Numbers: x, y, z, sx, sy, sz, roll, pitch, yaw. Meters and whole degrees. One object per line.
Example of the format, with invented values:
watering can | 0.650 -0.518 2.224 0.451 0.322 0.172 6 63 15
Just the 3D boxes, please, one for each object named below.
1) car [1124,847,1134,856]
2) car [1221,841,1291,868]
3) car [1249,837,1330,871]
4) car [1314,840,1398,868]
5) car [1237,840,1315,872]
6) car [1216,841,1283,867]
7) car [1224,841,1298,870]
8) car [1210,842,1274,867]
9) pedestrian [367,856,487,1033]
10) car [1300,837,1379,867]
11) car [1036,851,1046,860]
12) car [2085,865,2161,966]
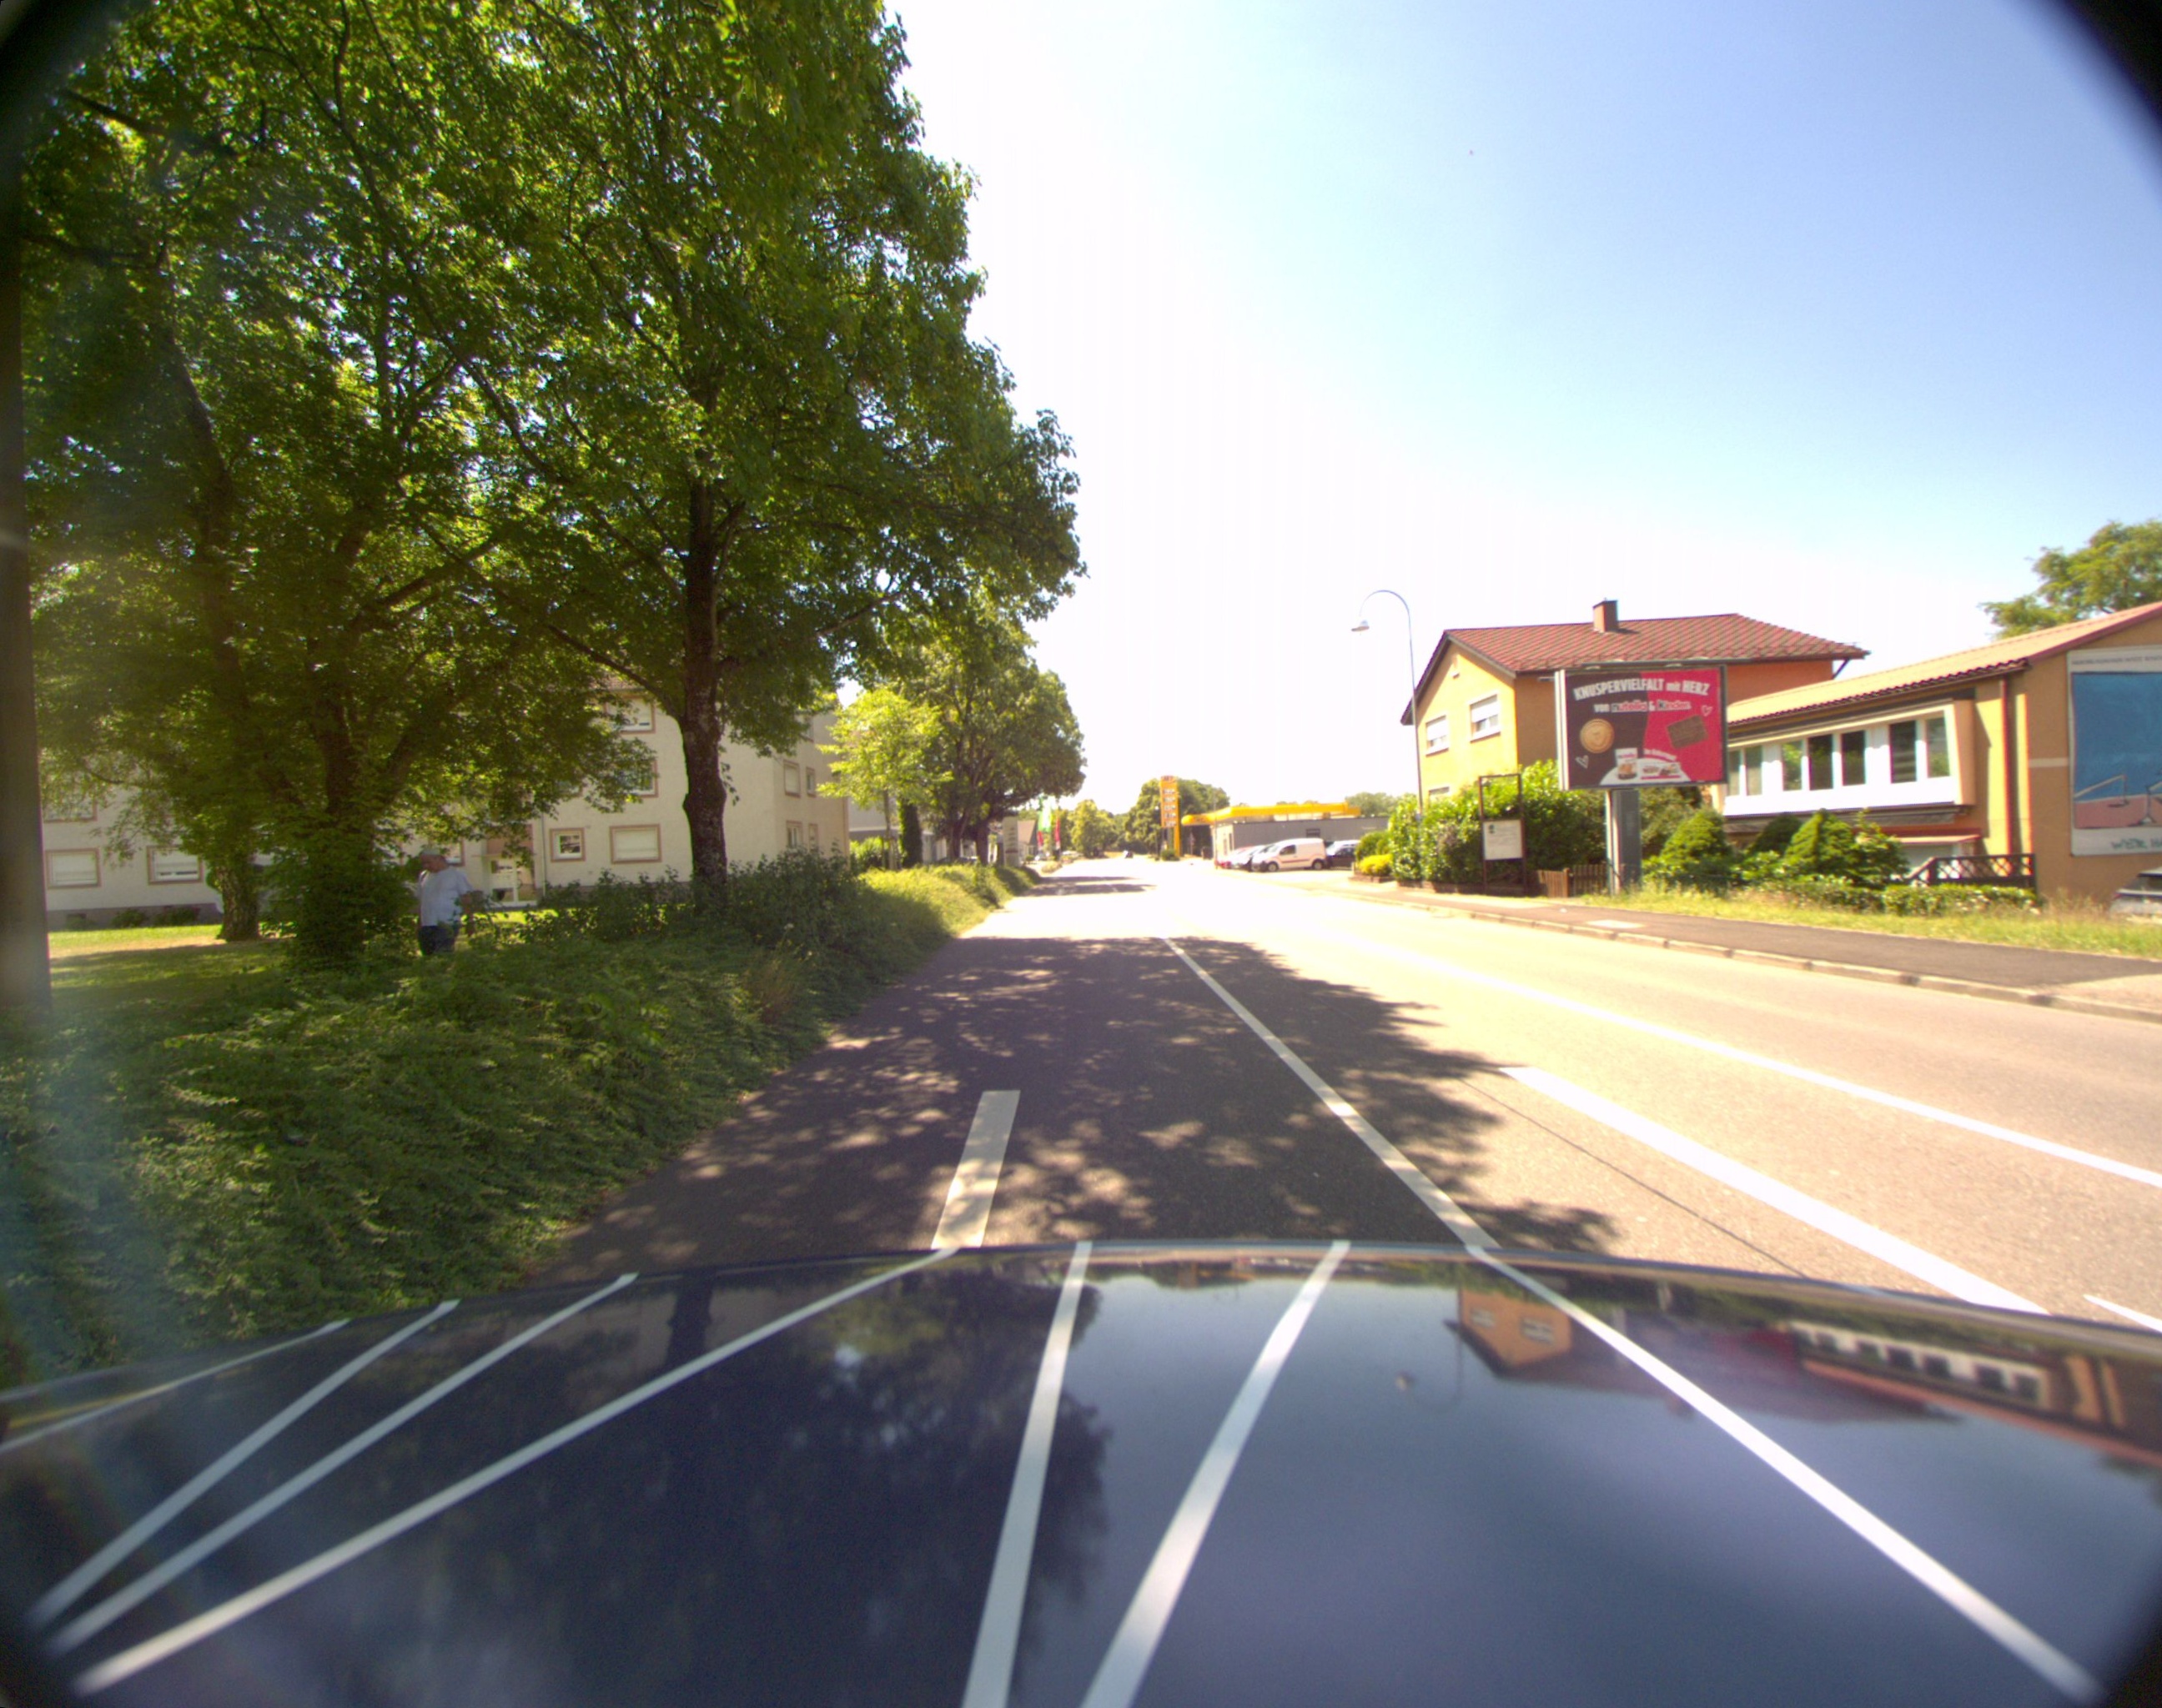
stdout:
car | 9.235 -0.523 145.325 1.809 1.552 4.063 -2 1 3
car | 12.203 0.021 53.160 4.402 1.750 1.874 -2 1 -5
car | 12.145 -0.001 44.408 4.191 1.858 1.874 -2 1 -5
car | 16.754 0.013 46.433 4.402 1.554 1.874 -2 1 -5
car | 11.882 0.109 46.474 4.246 1.750 1.874 -2 1 -5
car | 12.250 -0.009 55.499 4.402 1.750 1.874 -2 1 -5
car | 12.061 0.086 51.056 4.402 1.750 1.874 -2 1 -5
car | 12.271 0.015 58.076 4.402 1.750 1.874 -2 1 -5
pedestrian | -7.393 0.972 8.638 0.675 1.863 0.901 -3 1 -21
car | 16.533 -0.135 48.712 4.402 1.815 1.874 -2 1 -5
car | -7.369 0.242 140.473 1.771 1.521 4.129 -2 1 -1
car | 19.812 0.981 12.344 4.224 1.599 1.772 -1 1 7
